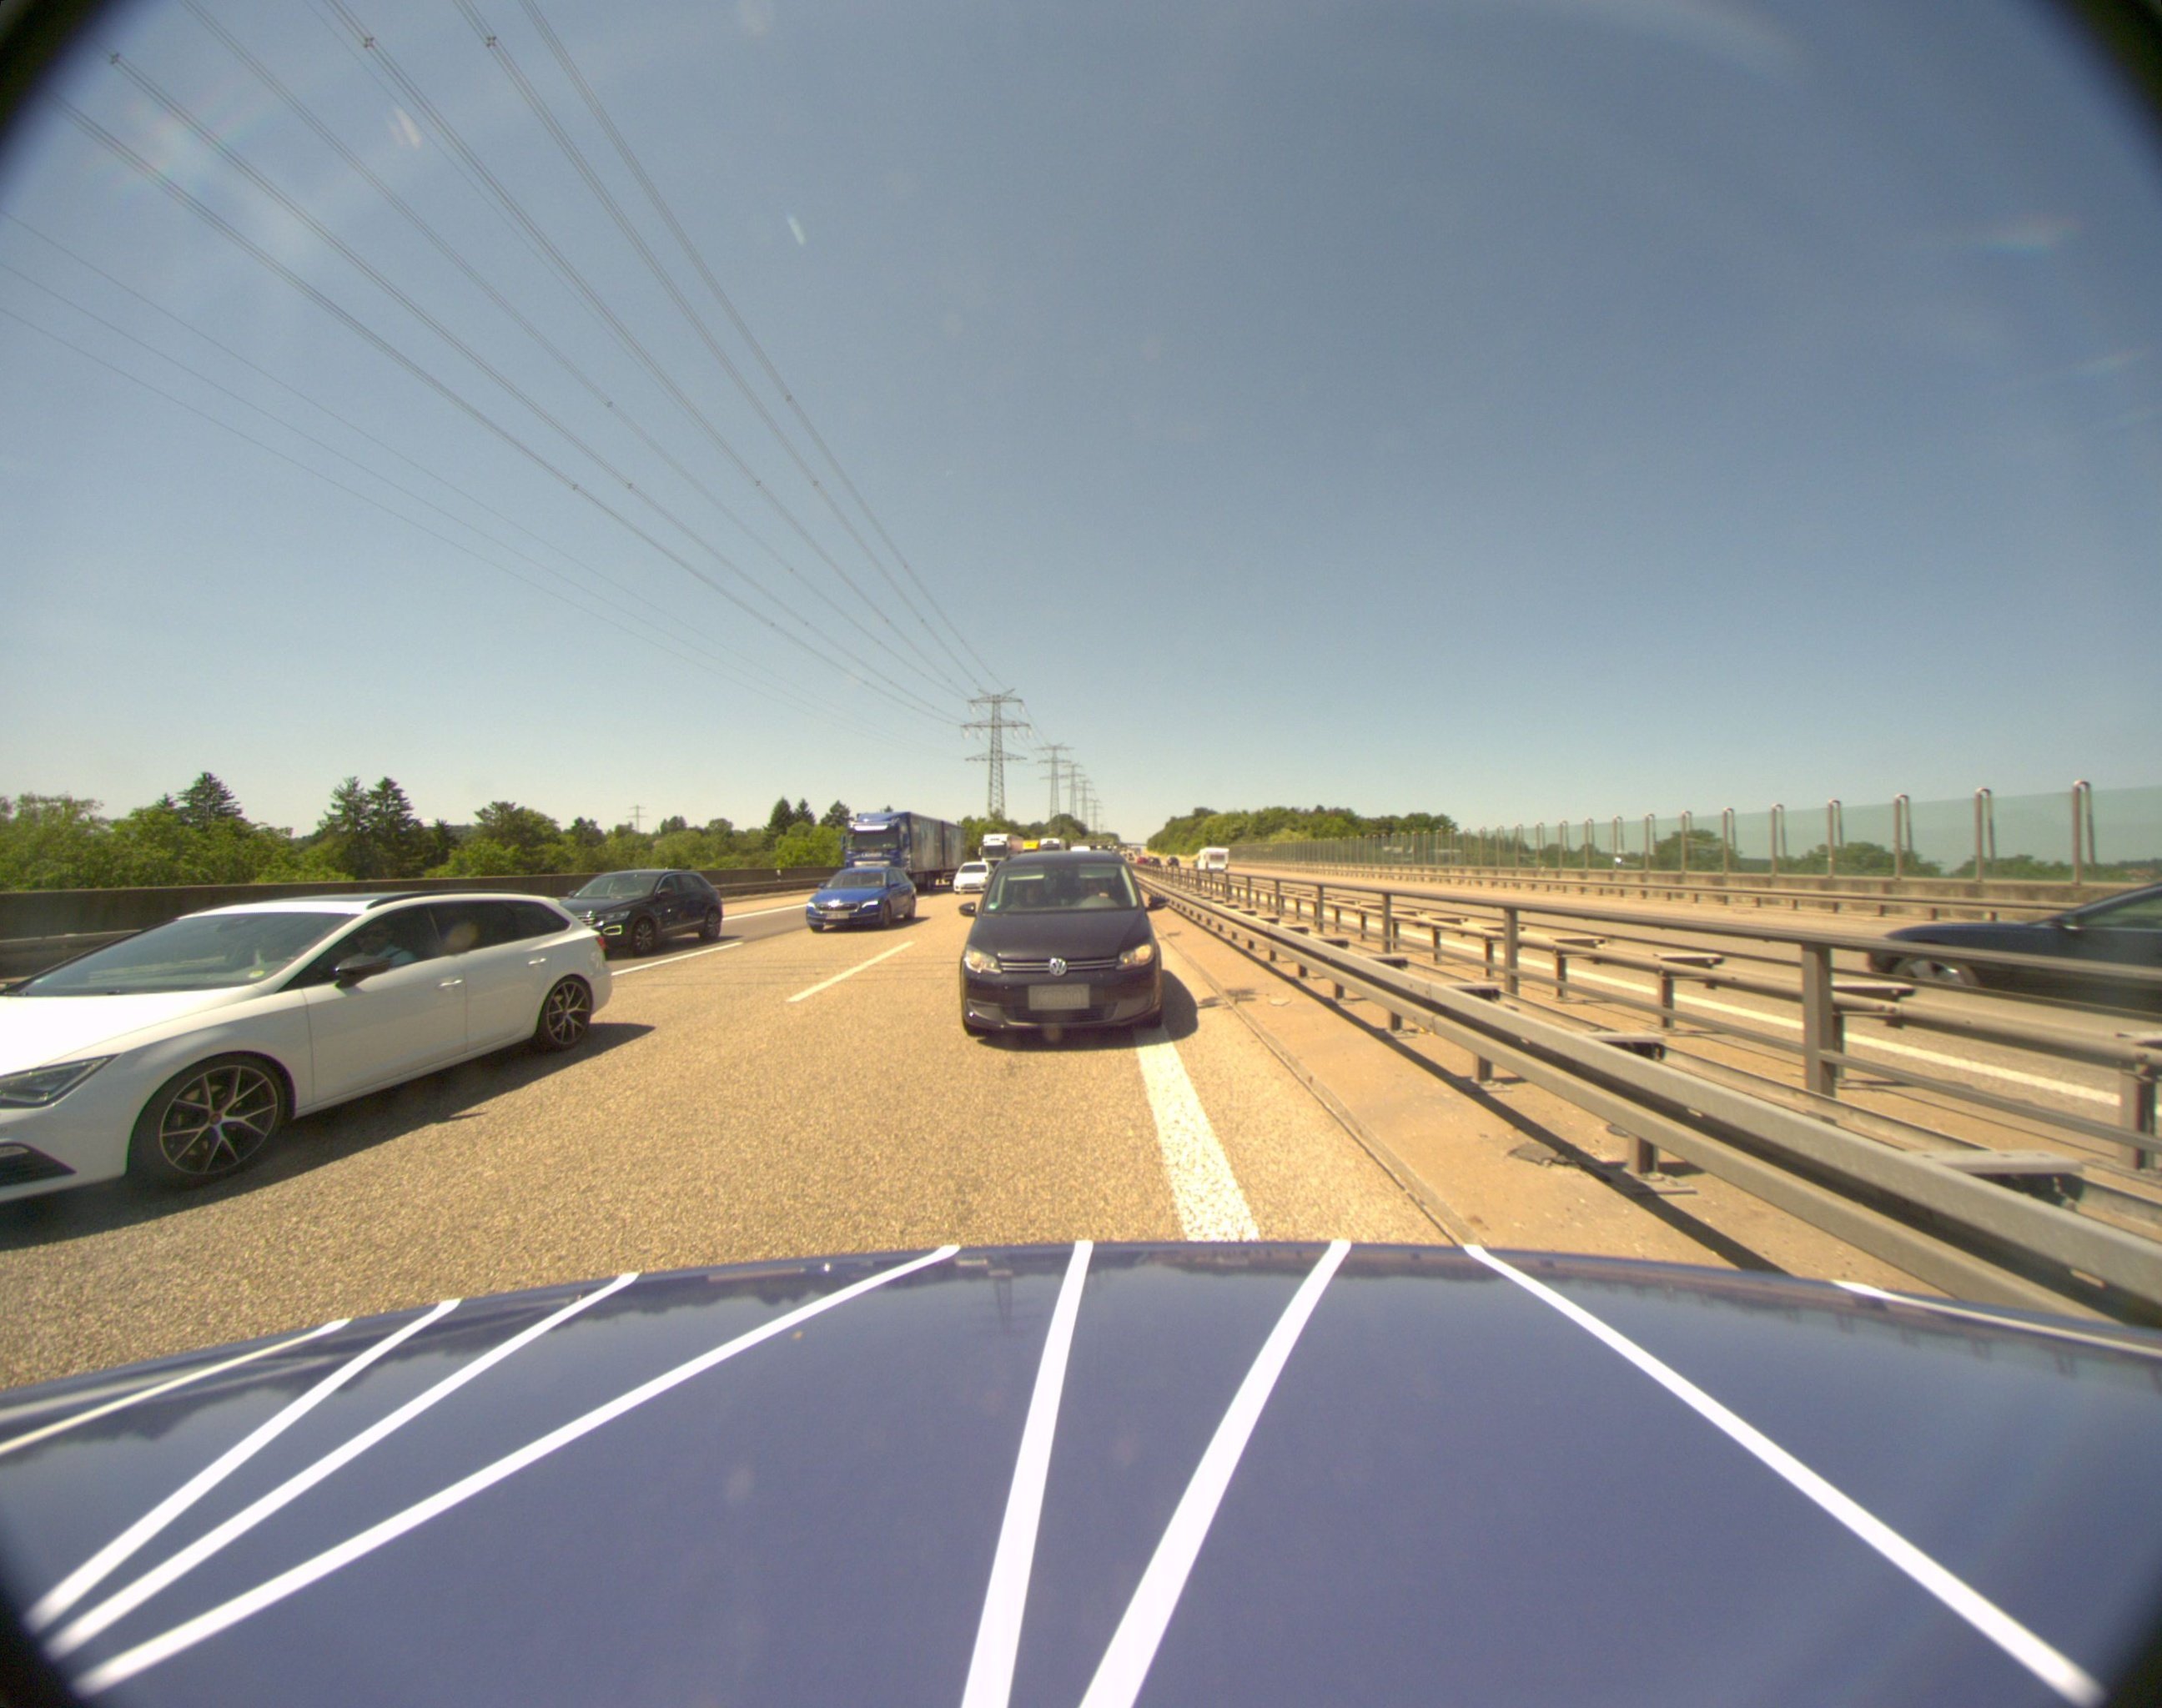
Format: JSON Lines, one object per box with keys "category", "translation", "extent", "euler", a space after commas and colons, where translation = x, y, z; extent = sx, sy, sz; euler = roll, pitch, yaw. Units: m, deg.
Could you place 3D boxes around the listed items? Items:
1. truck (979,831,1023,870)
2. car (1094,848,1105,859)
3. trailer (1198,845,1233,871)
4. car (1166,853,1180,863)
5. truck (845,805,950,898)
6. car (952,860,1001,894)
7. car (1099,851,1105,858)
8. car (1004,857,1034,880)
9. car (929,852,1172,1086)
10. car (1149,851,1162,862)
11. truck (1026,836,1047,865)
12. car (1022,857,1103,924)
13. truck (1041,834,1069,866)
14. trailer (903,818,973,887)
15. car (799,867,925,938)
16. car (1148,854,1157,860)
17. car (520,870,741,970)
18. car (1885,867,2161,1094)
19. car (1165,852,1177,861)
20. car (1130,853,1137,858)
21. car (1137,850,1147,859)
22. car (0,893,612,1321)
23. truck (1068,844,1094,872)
{"category": "truck", "translation": [-7.923, -0.345, 76.704], "extent": [2.985, 3.538, 10.967], "euler": [-2, 0, 1]}
{"category": "car", "translation": [3.621, -0.039, 146.562], "extent": [1.998, 2.002, 4.000], "euler": [-2, 0, 1]}
{"category": "trailer", "translation": [13.908, 0.373, 79.097], "extent": [2.499, 2.534, 6.774], "euler": [1, 0, 1]}
{"category": "car", "translation": [14.660, 0.648, 121.049], "extent": [1.734, 1.483, 4.419], "euler": [1, 0, 0]}
{"category": "truck", "translation": [-9.026, -0.128, 38.911], "extent": [2.529, 4.043, 10.447], "euler": [-2, 0, 1]}
{"category": "car", "translation": [-4.974, 1.059, 36.646], "extent": [1.763, 1.495, 4.094], "euler": [-1, 0, 0]}
{"category": "car", "translation": [6.409, 0.221, 231.405], "extent": [1.805, 2.002, 4.000], "euler": [-1, 0, 1]}
{"category": "car", "translation": [-4.408, 0.982, 54.141], "extent": [1.763, 1.495, 4.094], "euler": [-1, 0, 0]}
{"category": "car", "translation": [-0.214, 0.849, 7.627], "extent": [1.740, 1.652, 4.000], "euler": [-2, 0, 0]}
{"category": "car", "translation": [10.588, 0.345, 108.255], "extent": [1.672, 1.439, 4.001], "euler": [2, 0, 2]}
{"category": "truck", "translation": [-6.652, -0.530, 113.803], "extent": [2.346, 4.058, 8.278], "euler": [-2, 0, 1]}
{"category": "car", "translation": [-0.406, 0.851, 19.846], "extent": [1.845, 1.495, 4.377], "euler": [-1, 0, 1]}
{"category": "truck", "translation": [-3.275, -0.549, 97.805], "extent": [2.980, 3.832, 10.562], "euler": [-2, 0, 1]}
{"category": "trailer", "translation": [-8.889, -0.115, 48.369], "extent": [2.572, 3.922, 8.479], "euler": [-2, 0, 1]}
{"category": "car", "translation": [-5.253, 1.115, 18.827], "extent": [1.739, 1.437, 4.211], "euler": [-2, 0, 2]}
{"category": "car", "translation": [16.582, 0.749, 176.366], "extent": [1.601, 1.342, 4.179], "euler": [1, 0, 1]}
{"category": "car", "translation": [-8.495, 1.148, 14.828], "extent": [1.740, 1.518, 4.106], "euler": [-2, 0, 1]}
{"category": "car", "translation": [8.314, 0.911, 4.747], "extent": [1.872, 1.523, 4.424], "euler": [2, 0, 1]}
{"category": "car", "translation": [19.487, 0.593, 165.077], "extent": [1.998, 1.874, 5.256], "euler": [1, 0, 0]}
{"category": "car", "translation": [14.198, 0.308, 205.118], "extent": [1.601, 1.310, 4.341], "euler": [1, 0, 0]}
{"category": "car", "translation": [10.975, 0.094, 137.342], "extent": [1.672, 1.439, 4.001], "euler": [2, 0, 2]}
{"category": "car", "translation": [-5.257, 1.138, 4.965], "extent": [1.843, 1.481, 4.071], "euler": [-2, 0, -1]}
{"category": "truck", "translation": [0.080, 0.331, 72.046], "extent": [2.284, 2.479, 5.861], "euler": [-2, 0, 1]}
